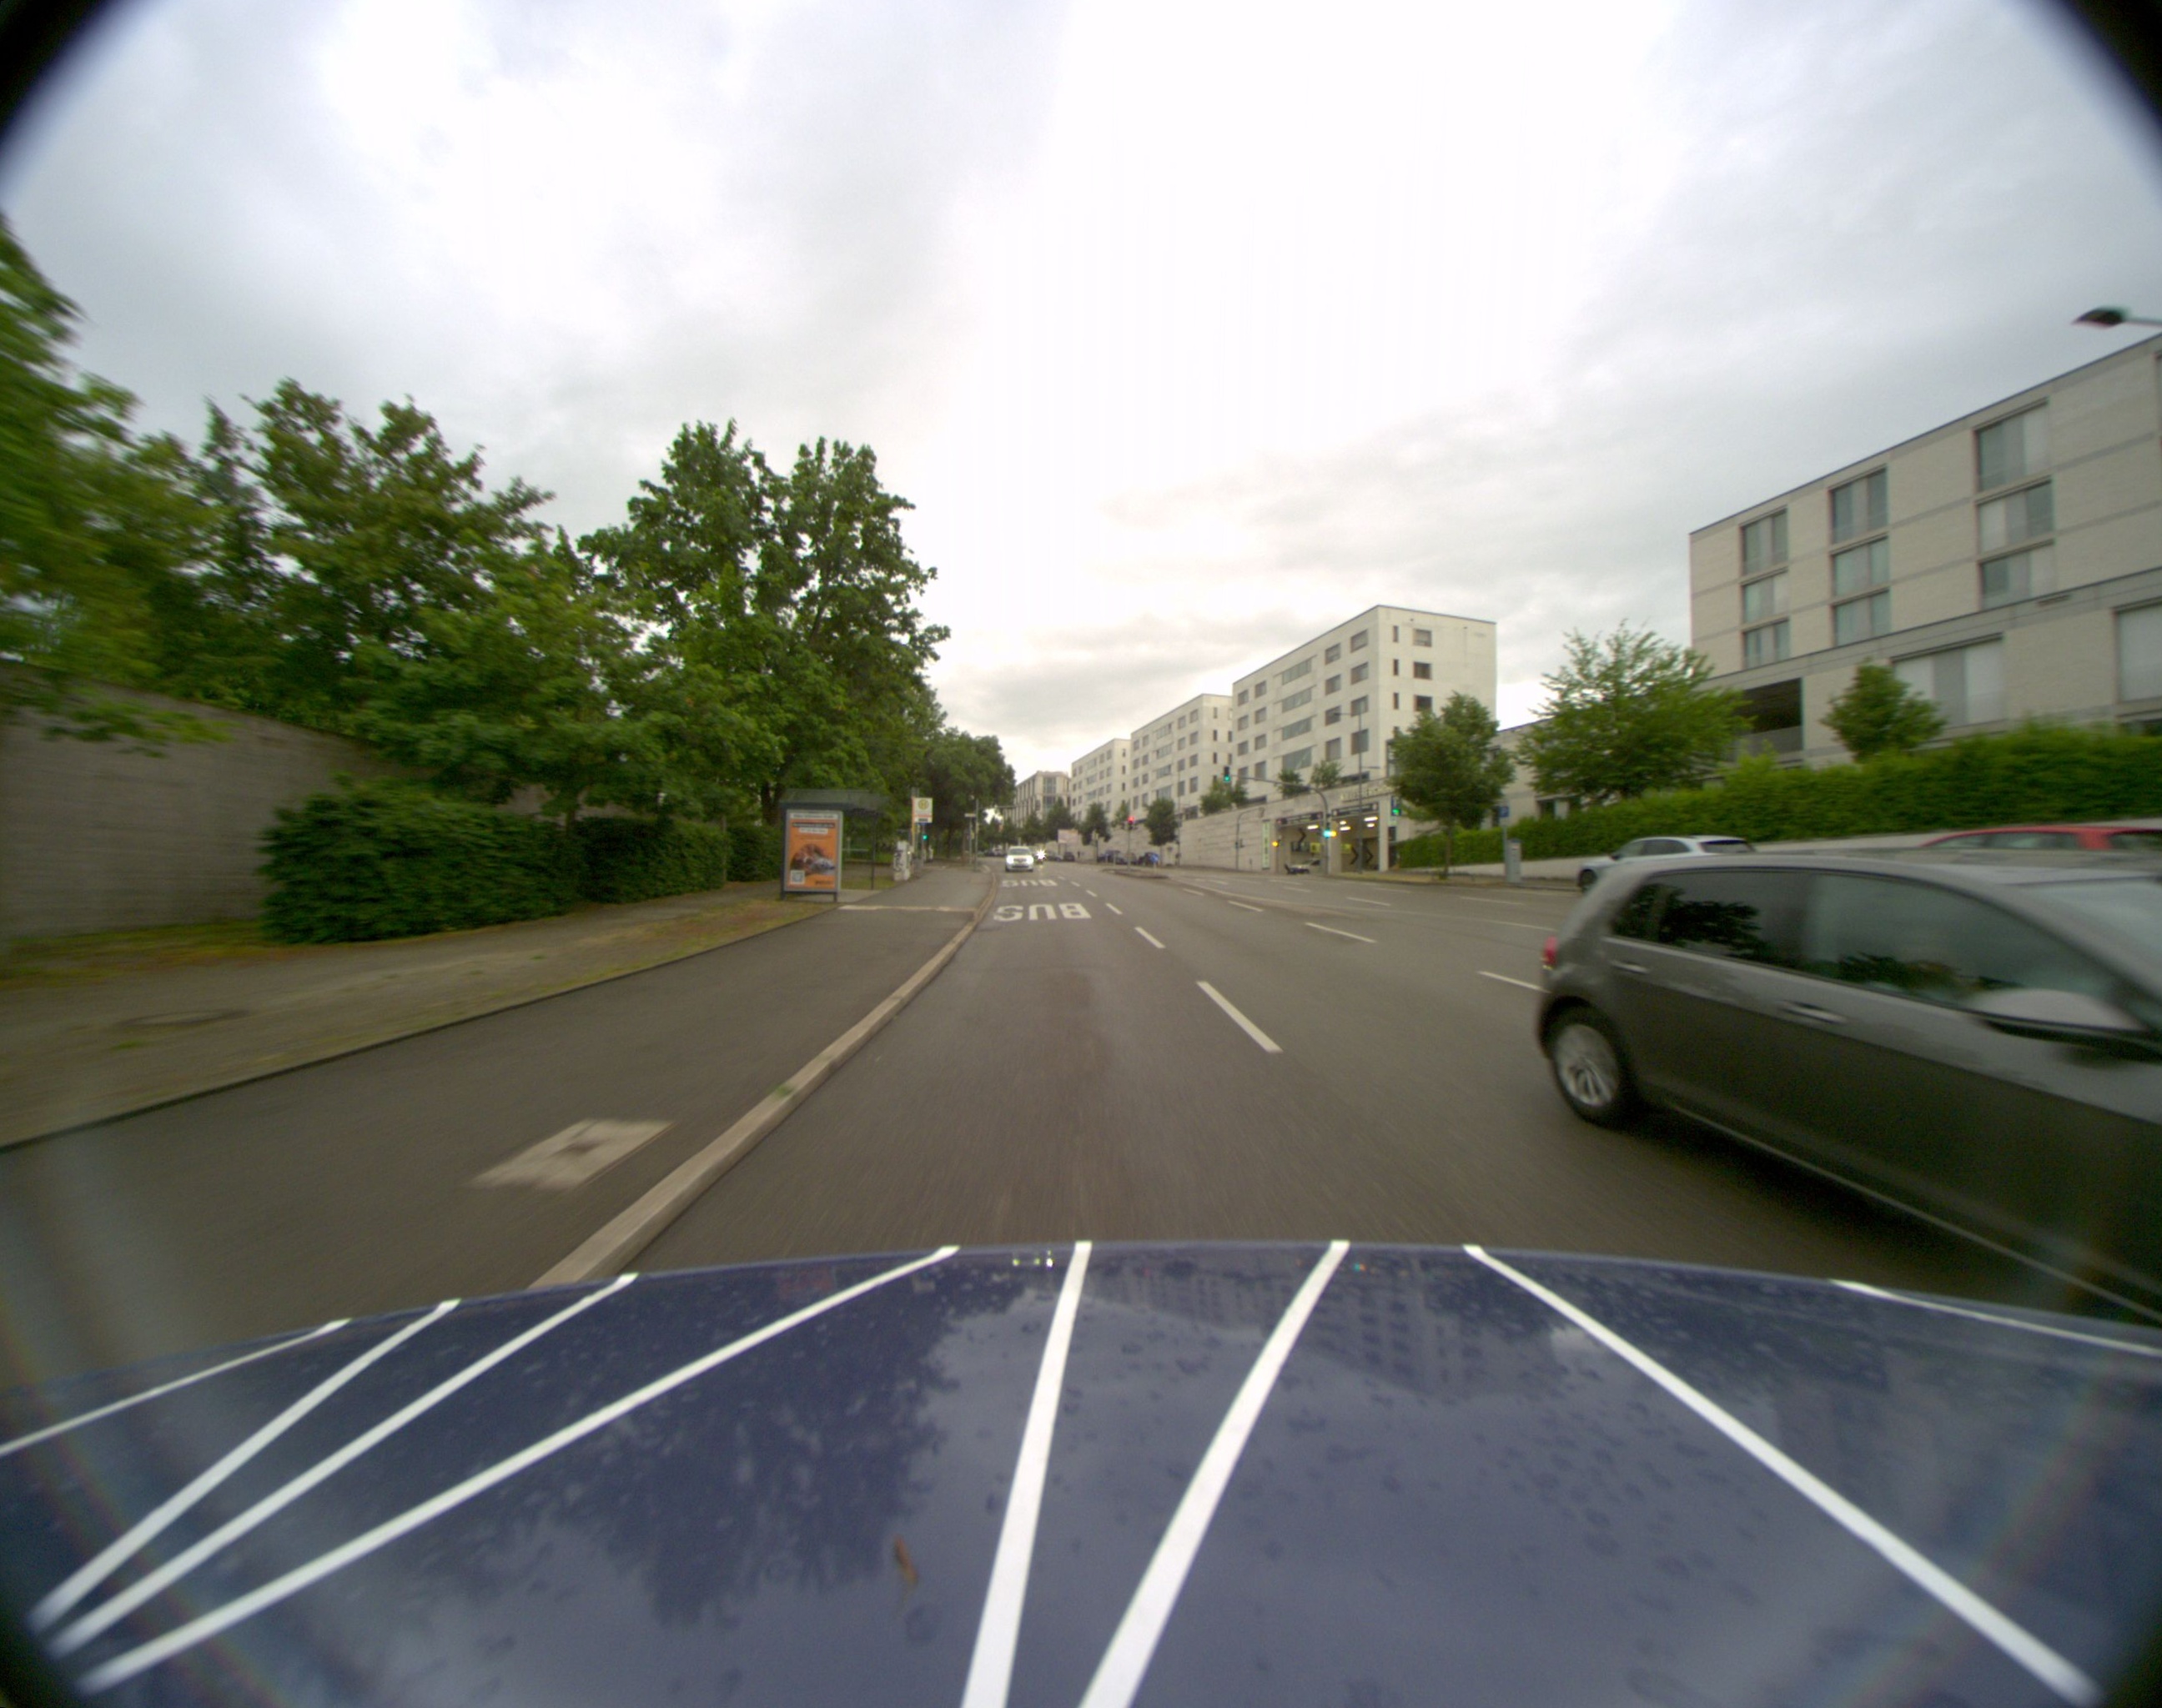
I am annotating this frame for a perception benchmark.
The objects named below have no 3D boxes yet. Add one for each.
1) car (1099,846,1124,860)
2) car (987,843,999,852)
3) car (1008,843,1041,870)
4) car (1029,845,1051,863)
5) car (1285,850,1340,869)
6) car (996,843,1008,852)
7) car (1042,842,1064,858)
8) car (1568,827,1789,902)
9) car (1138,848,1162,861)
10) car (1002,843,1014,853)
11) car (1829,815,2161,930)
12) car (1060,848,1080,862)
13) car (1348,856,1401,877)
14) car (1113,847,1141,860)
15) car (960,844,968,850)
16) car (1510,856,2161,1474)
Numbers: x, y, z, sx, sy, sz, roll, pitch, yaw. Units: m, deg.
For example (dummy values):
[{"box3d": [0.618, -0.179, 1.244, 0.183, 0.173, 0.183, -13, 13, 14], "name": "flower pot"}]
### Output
[{"box3d": [3.738, -0.117, 94.137, 1.792, 1.622, 3.993, 1, 1, -19], "name": "car"}, {"box3d": [-18.518, -1.387, 159.531, 2.001, 2.002, 3.994, 1, 1, -15], "name": "car"}, {"box3d": [-3.589, 0.175, 47.843, 1.928, 1.652, 3.998, 0, -1, -7], "name": "car"}, {"box3d": [-3.830, 0.059, 71.381, 1.829, 1.584, 4.001, -2, -1, 0], "name": "car"}, {"box3d": [20.763, 0.519, 68.163, 4.350, 1.642, 1.996, 1, 1, -19], "name": "car"}, {"box3d": [-17.345, -1.440, 166.757, 1.926, 2.001, 4.381, -1, -1, -16], "name": "car"}, {"box3d": [-3.780, -0.549, 100.936, 1.926, 2.001, 4.381, -1, -1, -16], "name": "car"}, {"box3d": [15.072, 0.210, 19.615, 1.768, 1.644, 4.882, -2, 0, -1], "name": "car"}, {"box3d": [7.648, 0.061, 84.164, 1.683, 1.450, 2.691, 1, 1, -19], "name": "car"}, {"box3d": [-15.380, -1.234, 159.990, 1.926, 2.001, 4.381, -1, -1, -16], "name": "car"}, {"box3d": [15.317, 0.241, 12.566, 1.669, 1.577, 4.216, 0, 0, -1], "name": "car"}, {"box3d": [-1.655, 0.160, 112.485, 1.926, 2.001, 4.381, -1, -1, -16], "name": "car"}, {"box3d": [25.559, 1.110, 66.131, 4.003, 1.761, 1.797, 1, 1, -16], "name": "car"}, {"box3d": [5.372, -0.070, 89.517, 1.865, 1.469, 3.993, 0, 0, -19], "name": "car"}, {"box3d": [-33.823, -2.102, 220.025, 2.001, 1.740, 3.995, 0, 1, -13], "name": "car"}, {"box3d": [3.605, 0.796, 2.419, 1.876, 1.433, 4.295, -3, 1, -2], "name": "car"}]
